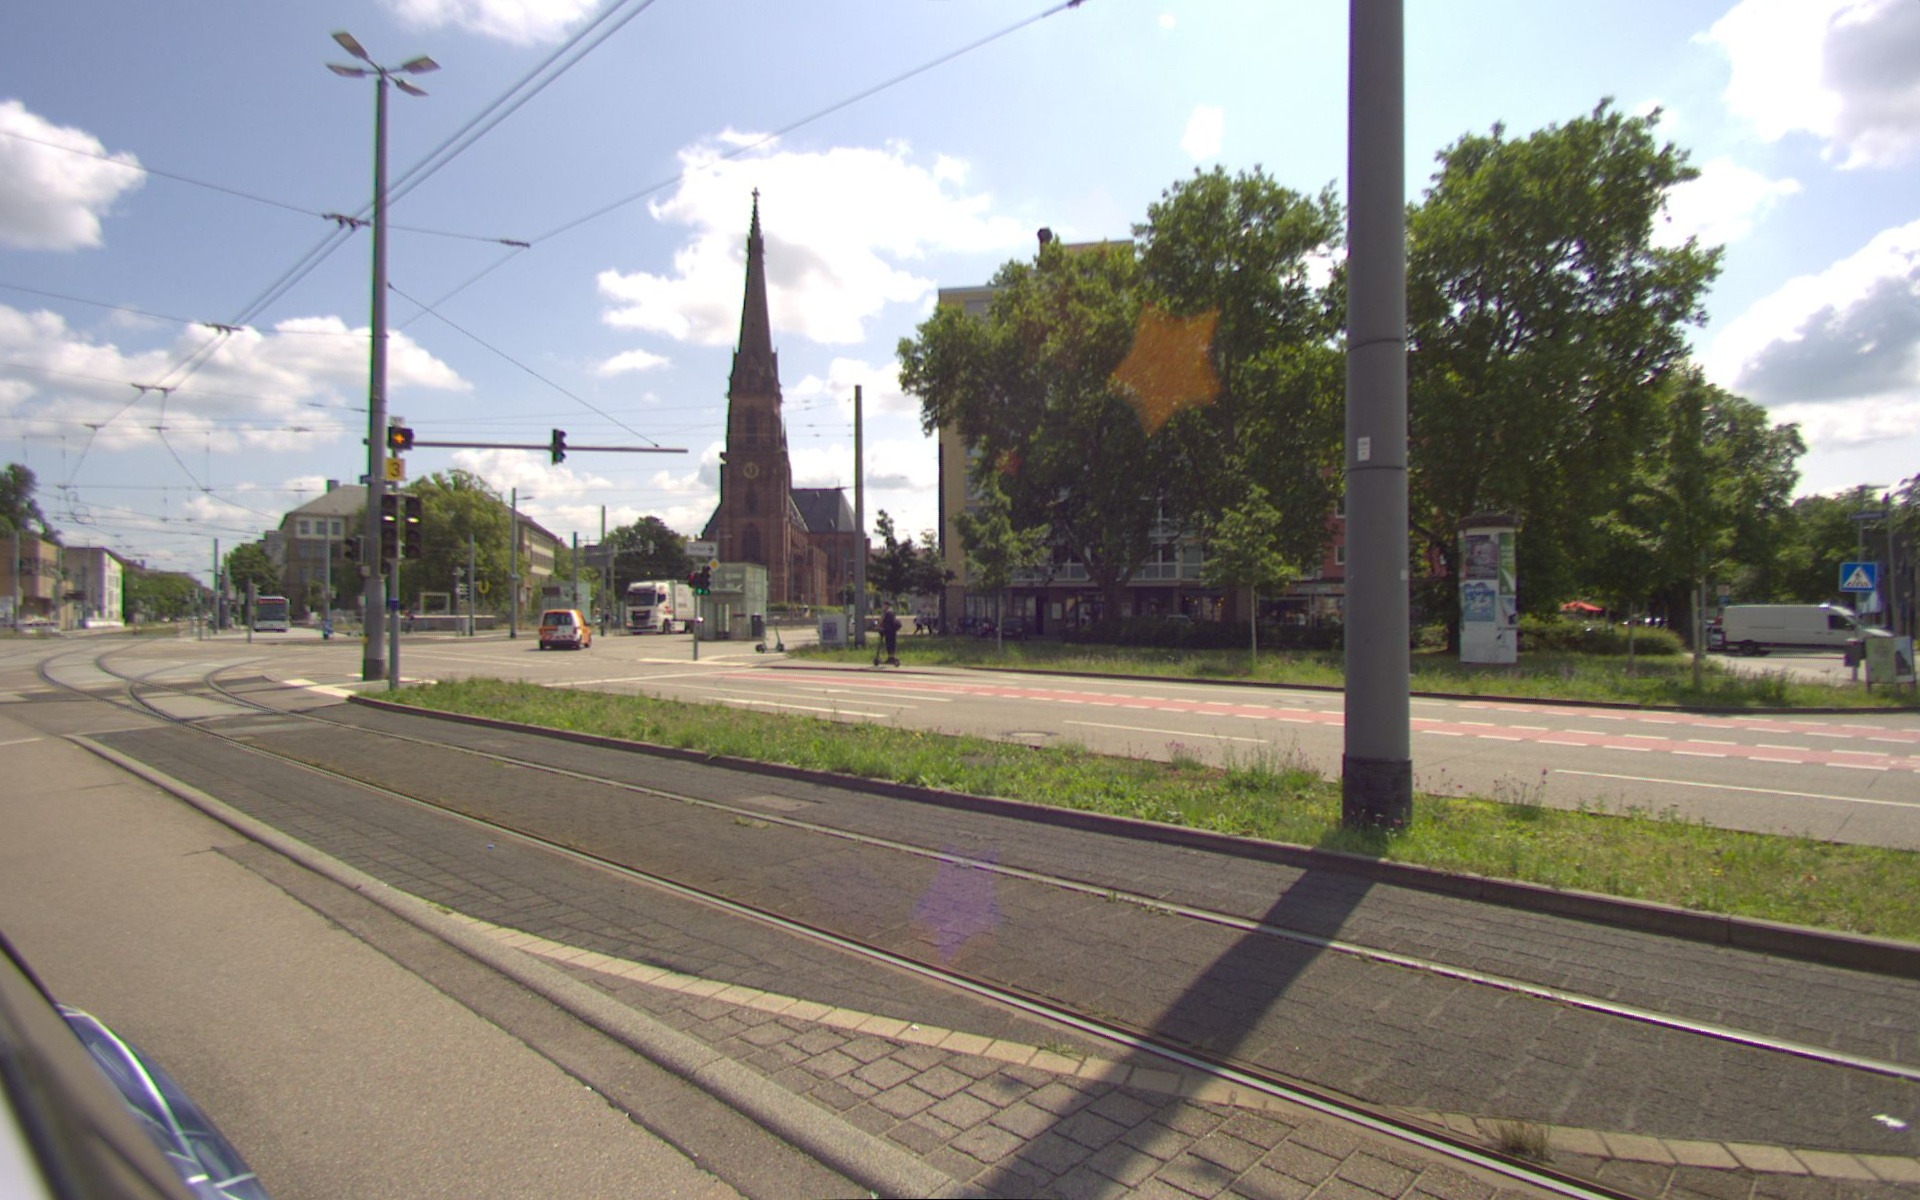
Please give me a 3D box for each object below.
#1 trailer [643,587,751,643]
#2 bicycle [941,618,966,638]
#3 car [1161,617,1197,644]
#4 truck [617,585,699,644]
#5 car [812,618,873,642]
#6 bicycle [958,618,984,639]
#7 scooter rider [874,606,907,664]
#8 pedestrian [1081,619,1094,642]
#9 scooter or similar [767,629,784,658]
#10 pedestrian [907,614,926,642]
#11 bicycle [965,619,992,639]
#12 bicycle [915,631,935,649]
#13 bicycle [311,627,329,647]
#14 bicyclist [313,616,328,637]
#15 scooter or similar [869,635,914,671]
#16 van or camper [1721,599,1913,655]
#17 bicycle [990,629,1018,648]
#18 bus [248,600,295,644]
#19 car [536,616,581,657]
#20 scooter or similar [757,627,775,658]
[{"bbox_3d":[-20.717,1.202,80.975,2.918,4.107,13.371,-1,-1,11],"label":"trailer"},{"bbox_3d":[-0.435,1.843,66.242,1.585,1.274,0.491,-1,-1,12],"label":"bicycle"},{"bbox_3d":[12.784,1.795,59.265,1.859,1.522,3.919,-1,-2,9],"label":"car"},{"bbox_3d":[-22.035,1.087,74.256,2.933,4.150,6.853,-1,-1,11],"label":"truck"},{"bbox_3d":[-8.604,2.174,74.258,4.101,1.655,1.634,0,-2,-30],"label":"car"},{"bbox_3d":[0.677,1.795,63.535,1.585,1.274,0.491,-1,-1,12],"label":"bicycle"},{"bbox_3d":[-2.091,1.035,30.452,0.649,1.720,0.768,-2,-2,42],"label":"scooter rider"},{"bbox_3d":[7.628,1.818,60.519,0.751,1.336,0.561,-1,-1,7],"label":"pedestrian"},{"bbox_3d":[-7.344,1.740,40.262,0.556,1.133,0.411,-2,-2,41],"label":"scooter or similar"},{"bbox_3d":[-2.470,1.566,57.168,0.873,1.572,0.719,-2,-2,20],"label":"pedestrian"},{"bbox_3d":[1.158,1.798,62.466,1.585,1.176,0.491,-1,-1,12],"label":"bicycle"},{"bbox_3d":[-2.315,2.632,66.746,1.259,1.154,0.458,-1,-2,8],"label":"bicycle"},{"bbox_3d":[-65.259,3.770,103.167,1.228,2.029,3.491,1,-2,-38],"label":"bicycle"},{"bbox_3d":[-65.215,2.706,103.128,1.108,2.029,1.322,2,-2,-38],"label":"bicyclist"},{"bbox_3d":[-2.061,1.570,30.413,1.092,1.040,0.795,-2,-2,42],"label":"scooter or similar"},{"bbox_3d":[41.620,1.308,49.395,2.537,2.518,6.699,0,-1,-35],"label":"van or camper"},{"bbox_3d":[2.550,2.255,58.960,1.585,1.074,0.491,-1,-1,12],"label":"bicycle"},{"bbox_3d":[-57.293,1.862,84.100,2.904,3.474,7.965,0,-2,-36],"label":"bus"},{"bbox_3d":[-18.267,1.625,45.932,1.740,1.779,4.255,0,-1,-24],"label":"car"},{"bbox_3d":[-7.621,1.678,39.727,0.549,1.209,0.456,-2,-2,41],"label":"scooter or similar"}]
